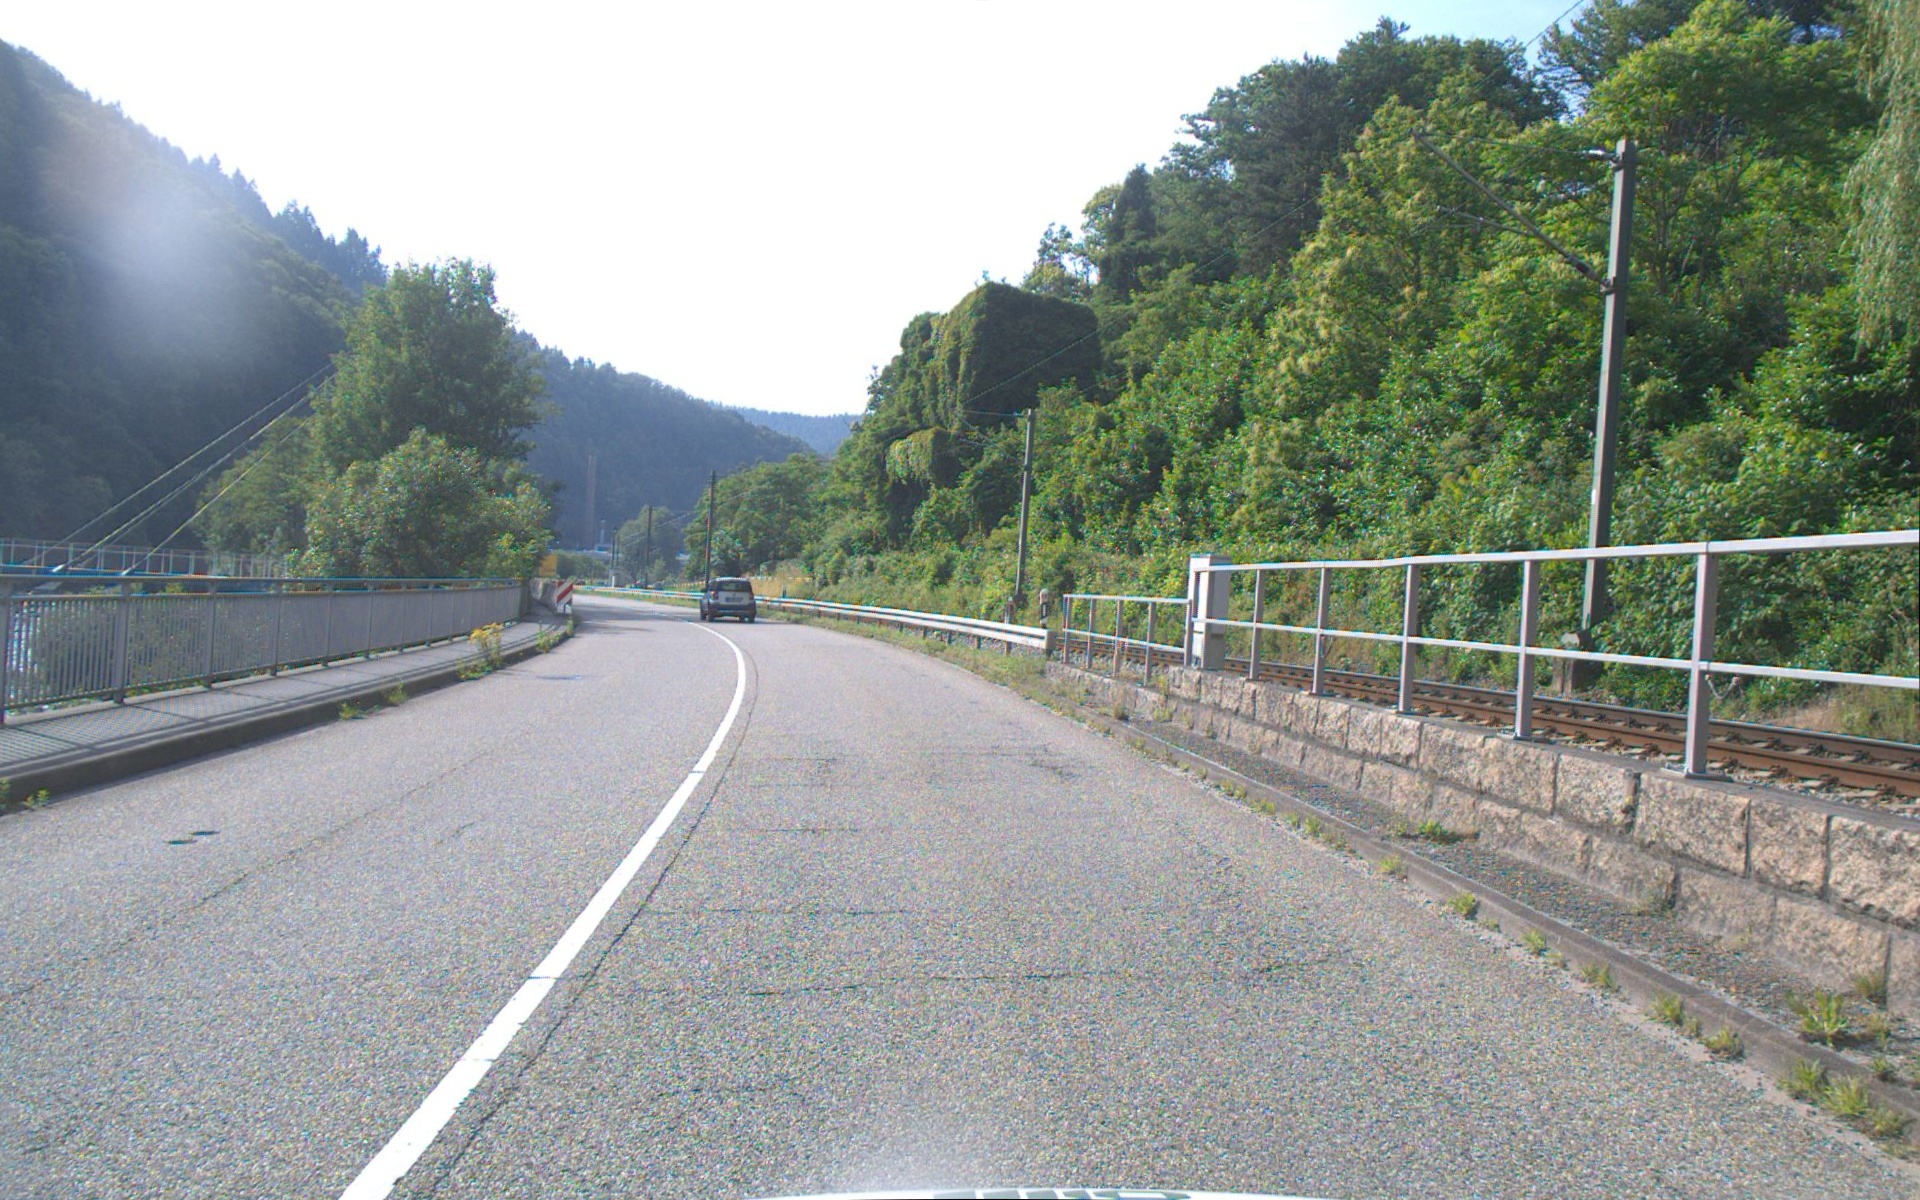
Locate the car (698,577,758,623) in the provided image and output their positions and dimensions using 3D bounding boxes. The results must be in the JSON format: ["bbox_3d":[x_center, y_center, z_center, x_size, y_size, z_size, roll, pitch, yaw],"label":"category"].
[{"bbox_3d":[-8.863,-0.011,62.965,1.841,1.685,3.986,1,0,-14],"label":"car"}]
